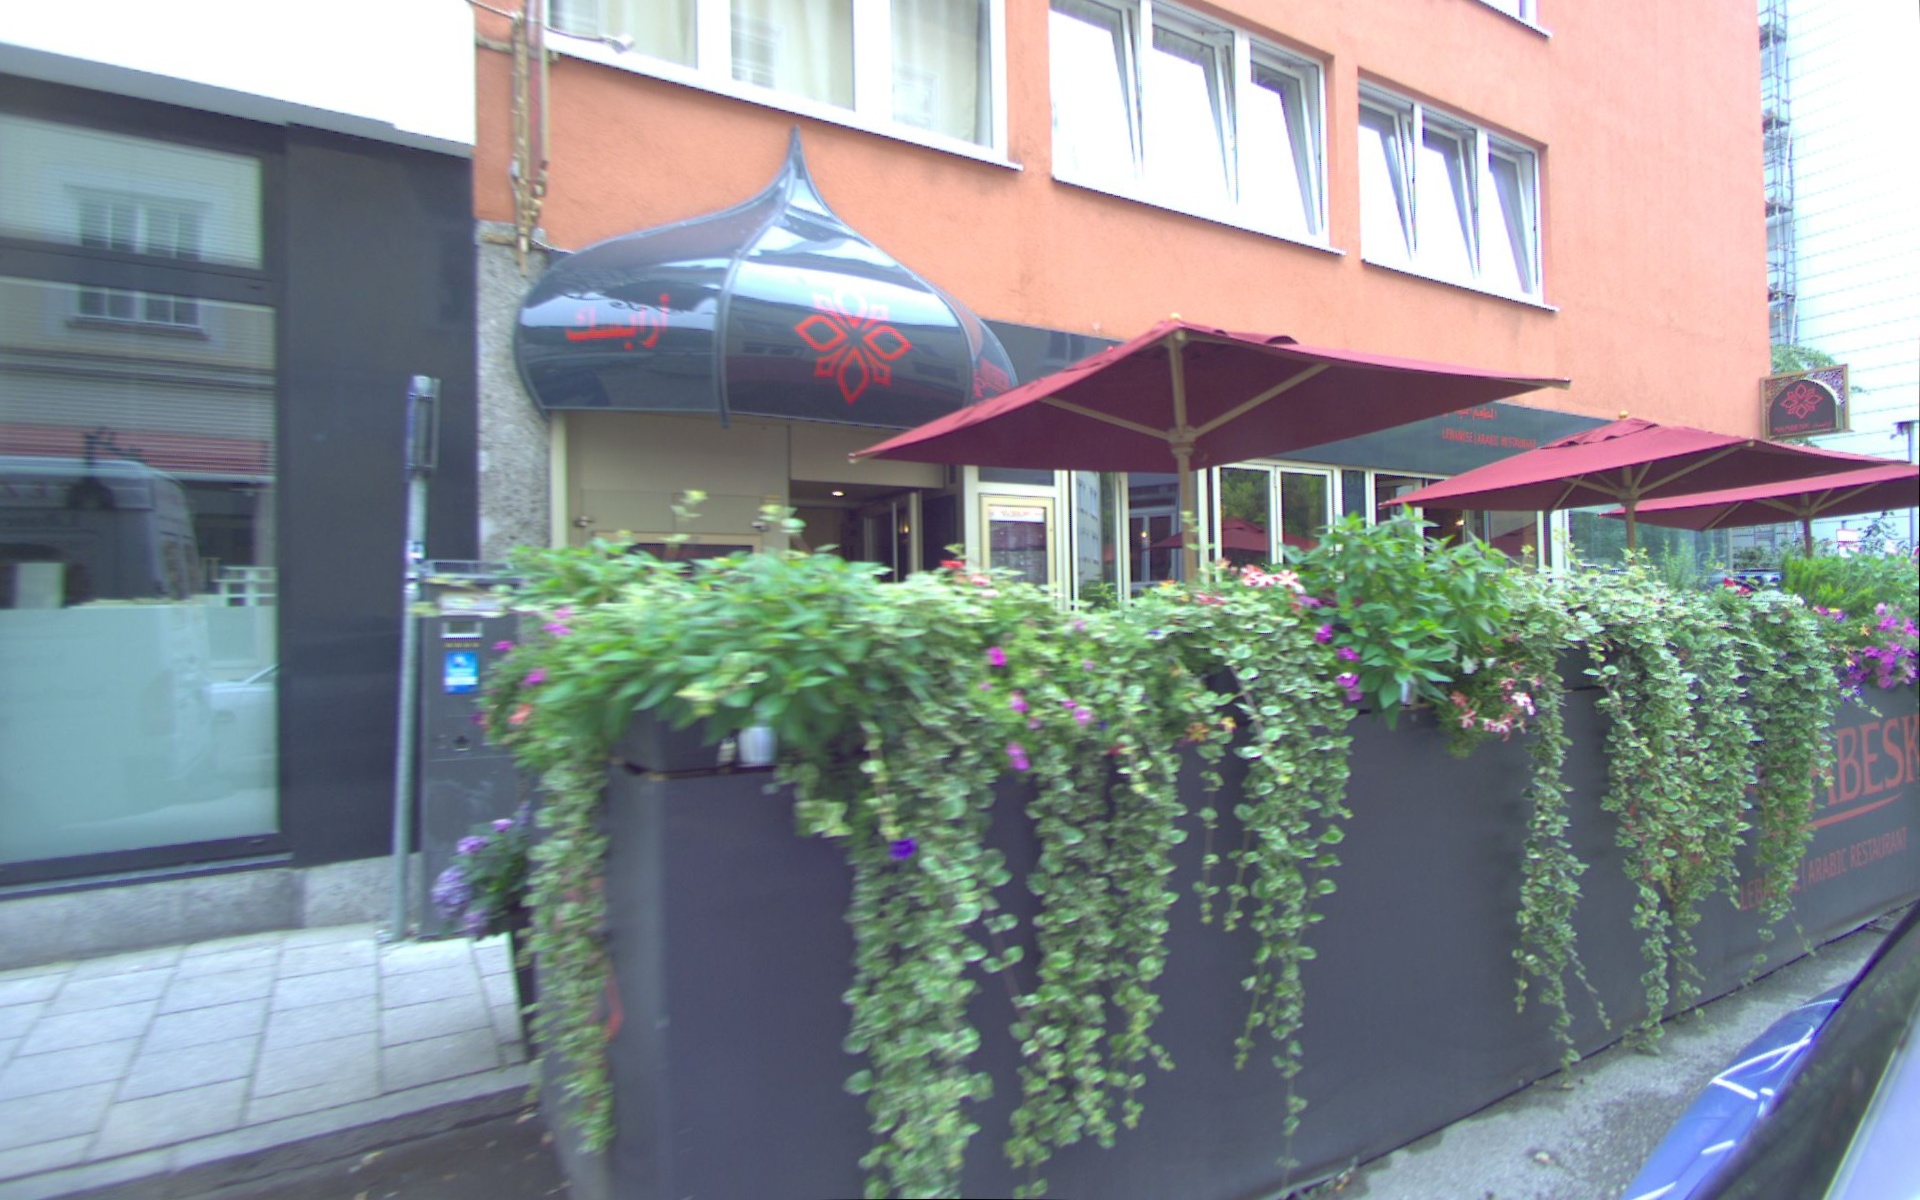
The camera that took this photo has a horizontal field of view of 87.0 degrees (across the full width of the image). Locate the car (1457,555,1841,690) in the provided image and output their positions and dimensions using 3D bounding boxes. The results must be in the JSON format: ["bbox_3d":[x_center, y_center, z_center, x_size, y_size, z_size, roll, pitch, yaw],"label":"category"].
[{"bbox_3d":[10.207,0.293,15.394,1.804,1.742,4.479,0,0,-31],"label":"car"}]

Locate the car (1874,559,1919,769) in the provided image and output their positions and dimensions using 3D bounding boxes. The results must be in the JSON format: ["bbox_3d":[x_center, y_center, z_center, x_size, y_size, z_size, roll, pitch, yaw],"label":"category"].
[{"bbox_3d":[10.097,0.481,8.834,4.301,1.732,1.831,-1,-2,-30],"label":"car"}]
